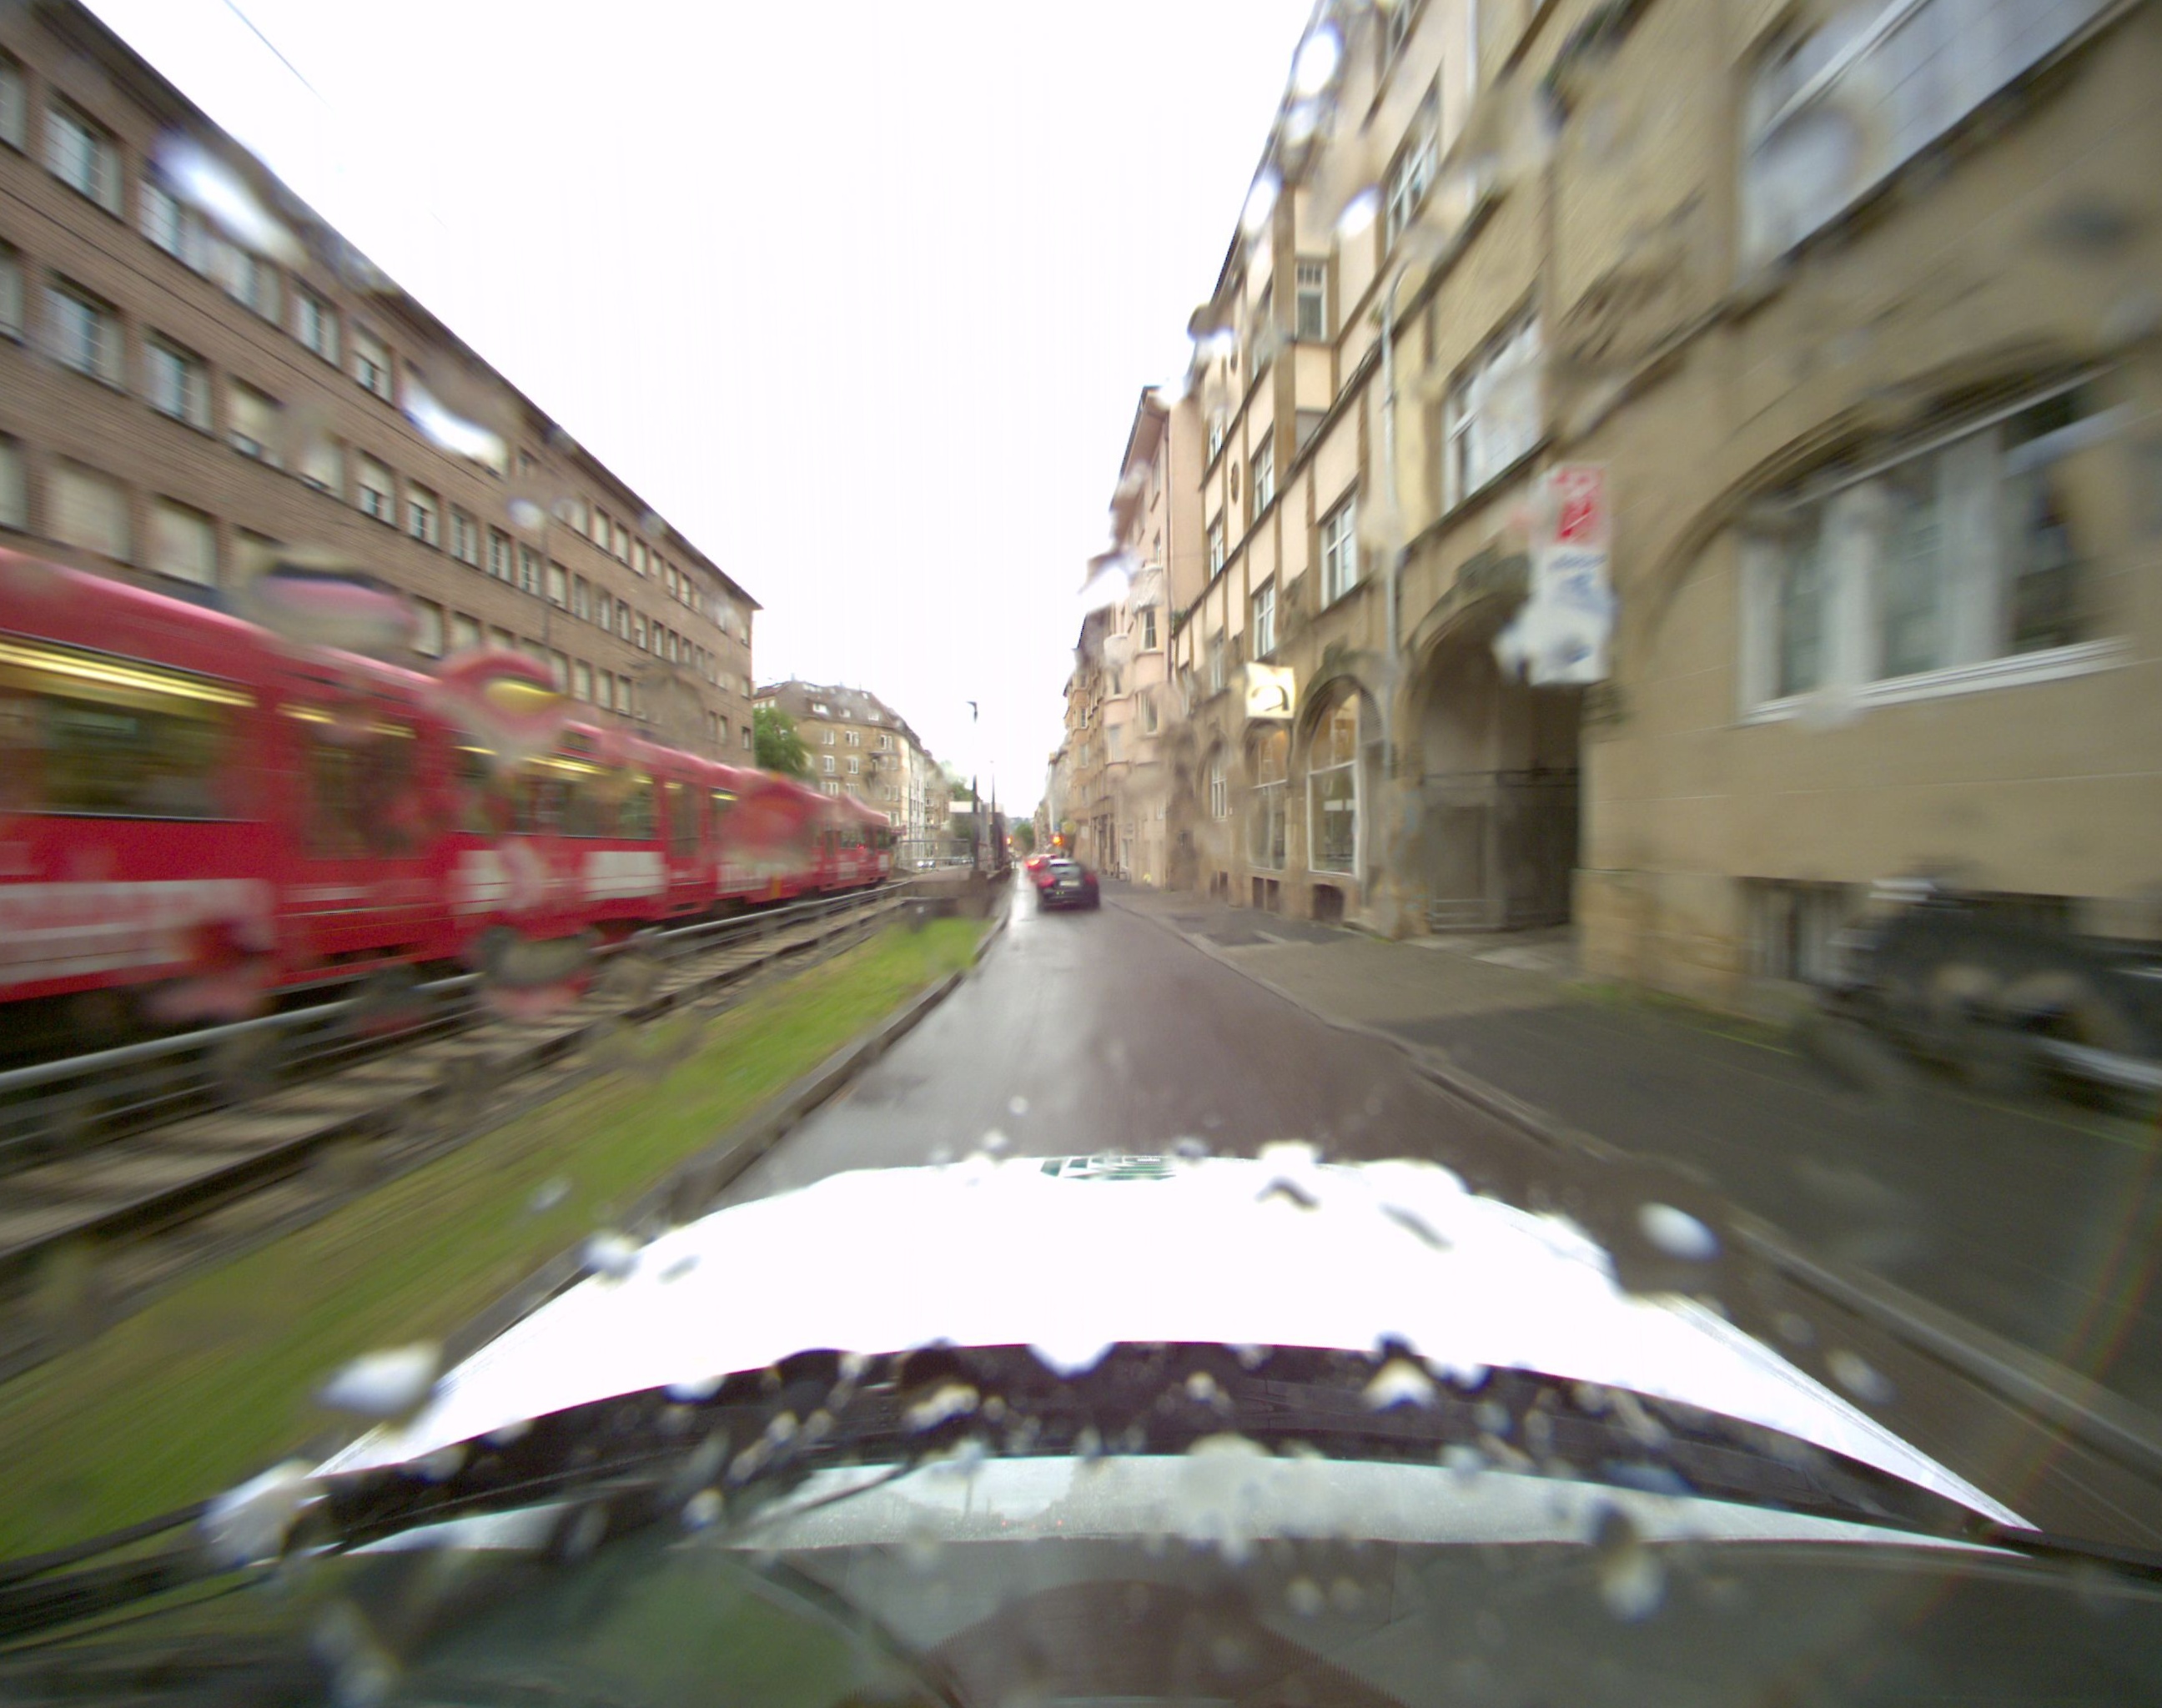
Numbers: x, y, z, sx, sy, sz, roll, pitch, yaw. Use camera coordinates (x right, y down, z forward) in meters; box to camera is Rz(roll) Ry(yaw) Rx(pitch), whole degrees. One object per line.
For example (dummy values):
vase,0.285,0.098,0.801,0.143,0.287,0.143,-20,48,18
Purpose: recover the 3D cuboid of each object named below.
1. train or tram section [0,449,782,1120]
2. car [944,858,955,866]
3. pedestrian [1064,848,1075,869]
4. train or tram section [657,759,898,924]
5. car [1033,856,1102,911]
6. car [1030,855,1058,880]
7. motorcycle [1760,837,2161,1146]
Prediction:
train or tram section,-8.103,-0.351,10.563,2.710,3.921,19.267,-1,0,-4
car,-26.503,1.566,163.824,1.718,1.541,3.930,-3,0,-3
pedestrian,-1.074,0.403,74.874,0.897,1.840,0.967,-5,0,-3
train or tram section,-9.506,-0.255,29.493,2.710,3.921,19.830,-1,0,-4
car,-0.452,0.810,24.462,1.862,1.452,3.996,-1,0,-3
car,-2.257,0.803,49.779,1.645,1.452,3.996,-1,0,-2
motorcycle,4.776,0.575,4.310,0.689,1.237,1.776,-7,0,-4
